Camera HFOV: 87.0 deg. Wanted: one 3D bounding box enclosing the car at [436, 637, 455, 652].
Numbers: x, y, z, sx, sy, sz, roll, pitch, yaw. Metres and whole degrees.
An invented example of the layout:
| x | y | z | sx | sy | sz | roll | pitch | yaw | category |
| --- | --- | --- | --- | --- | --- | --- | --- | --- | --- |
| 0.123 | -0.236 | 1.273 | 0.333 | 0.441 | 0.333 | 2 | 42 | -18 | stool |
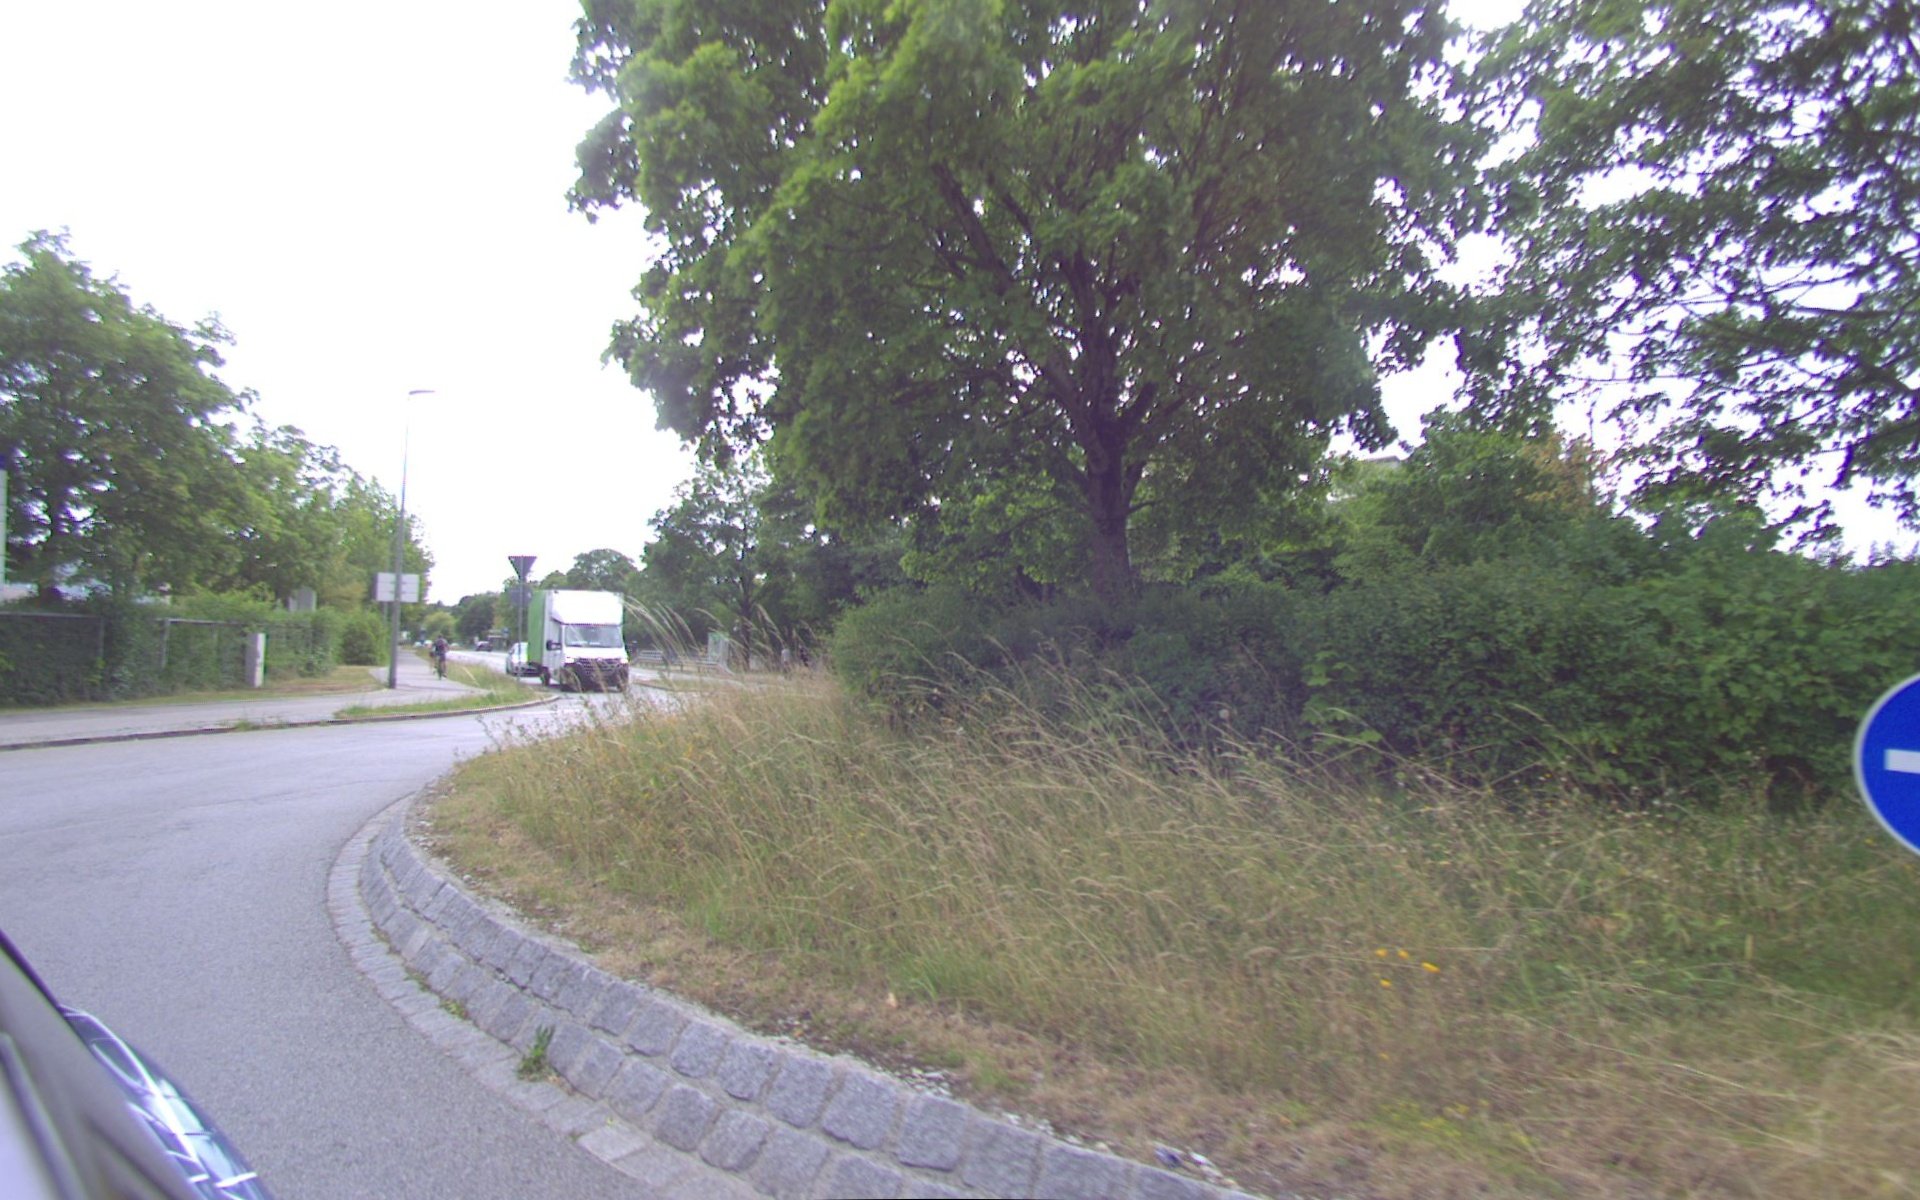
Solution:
| x | y | z | sx | sy | sz | roll | pitch | yaw | category |
| --- | --- | --- | --- | --- | --- | --- | --- | --- | --- |
| -74.462 | 6.460 | 146.422 | 2.003 | 2.142 | 5.740 | 2 | -3 | -31 | car |

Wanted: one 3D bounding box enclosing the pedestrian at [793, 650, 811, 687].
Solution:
| x | y | z | sx | sy | sz | roll | pitch | yaw | category |
| --- | --- | --- | --- | --- | --- | --- | --- | --- | --- |
| -7.739 | 3.341 | 49.537 | 0.625 | 1.823 | 0.616 | 3 | -4 | -36 | pedestrian |

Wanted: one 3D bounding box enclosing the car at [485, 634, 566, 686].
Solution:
| x | y | z | sx | sy | sz | roll | pitch | yaw | category |
| --- | --- | --- | --- | --- | --- | --- | --- | --- | --- |
| -19.423 | 2.607 | 45.072 | 2.571 | 2.142 | 5.740 | 2 | -3 | -31 | car |

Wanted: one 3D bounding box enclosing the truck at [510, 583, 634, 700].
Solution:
| x | y | z | sx | sy | sz | roll | pitch | yaw | category |
| --- | --- | --- | --- | --- | --- | --- | --- | --- | --- |
| -13.190 | 1.387 | 33.973 | 2.571 | 3.474 | 7.529 | 2 | -3 | -31 | truck |

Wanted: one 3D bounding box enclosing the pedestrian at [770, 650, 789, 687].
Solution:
| x | y | z | sx | sy | sz | roll | pitch | yaw | category |
| --- | --- | --- | --- | --- | --- | --- | --- | --- | --- |
| -8.764 | 3.318 | 49.190 | 0.720 | 1.794 | 0.596 | 3 | -4 | -36 | pedestrian |

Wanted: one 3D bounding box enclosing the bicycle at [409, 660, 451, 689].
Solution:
| x | y | z | sx | sy | sz | roll | pitch | yaw | category |
| --- | --- | --- | --- | --- | --- | --- | --- | --- | --- |
| -19.398 | 2.715 | 37.026 | 0.950 | 0.882 | 2.501 | 7 | -5 | -36 | bicycle |

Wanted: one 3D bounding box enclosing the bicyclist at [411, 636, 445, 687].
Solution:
| x | y | z | sx | sy | sz | roll | pitch | yaw | category |
| --- | --- | --- | --- | --- | --- | --- | --- | --- | --- |
| -19.640 | 2.275 | 37.355 | 0.799 | 1.801 | 0.981 | 7 | -6 | -36 | bicyclist |

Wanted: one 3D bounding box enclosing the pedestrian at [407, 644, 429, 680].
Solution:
| x | y | z | sx | sy | sz | roll | pitch | yaw | category |
| --- | --- | --- | --- | --- | --- | --- | --- | --- | --- |
| -23.583 | 2.712 | 44.049 | 0.844 | 1.542 | 0.537 | -2 | -5 | 43 | pedestrian |
